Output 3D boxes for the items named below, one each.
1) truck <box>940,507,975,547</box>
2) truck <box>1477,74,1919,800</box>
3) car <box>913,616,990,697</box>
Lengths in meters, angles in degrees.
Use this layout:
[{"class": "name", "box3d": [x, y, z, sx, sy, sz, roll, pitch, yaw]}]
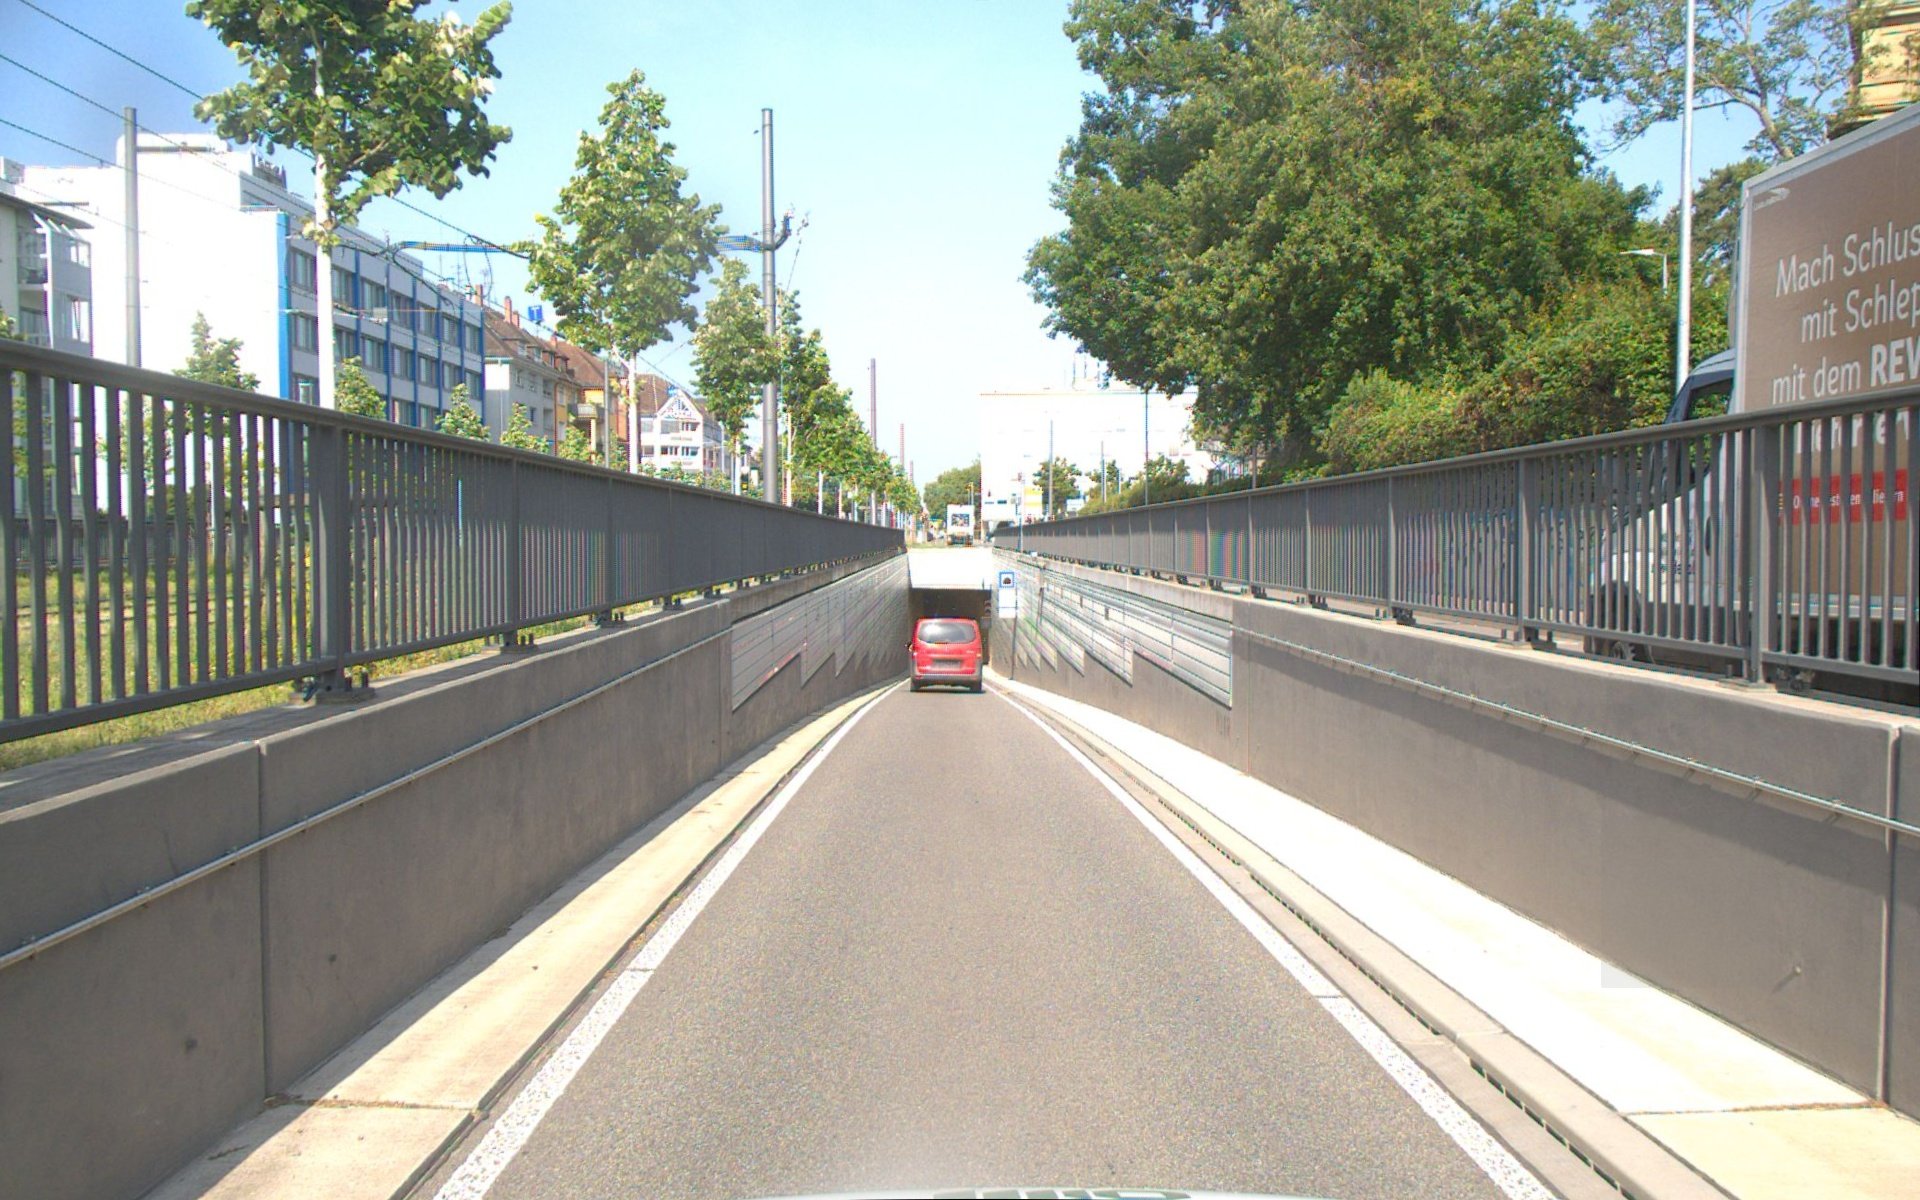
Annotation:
[{"class": "truck", "box3d": [-0.279, -7.182, 164.075, 3.322, 3.791, 10.451, 0, 2, -1]}, {"class": "truck", "box3d": [5.280, -0.705, 8.546, 2.452, 3.113, 7.818, 2, 1, -2]}, {"class": "car", "box3d": [-0.238, 1.427, 43.195, 1.862, 1.892, 3.999, 2, 0, -1]}]
